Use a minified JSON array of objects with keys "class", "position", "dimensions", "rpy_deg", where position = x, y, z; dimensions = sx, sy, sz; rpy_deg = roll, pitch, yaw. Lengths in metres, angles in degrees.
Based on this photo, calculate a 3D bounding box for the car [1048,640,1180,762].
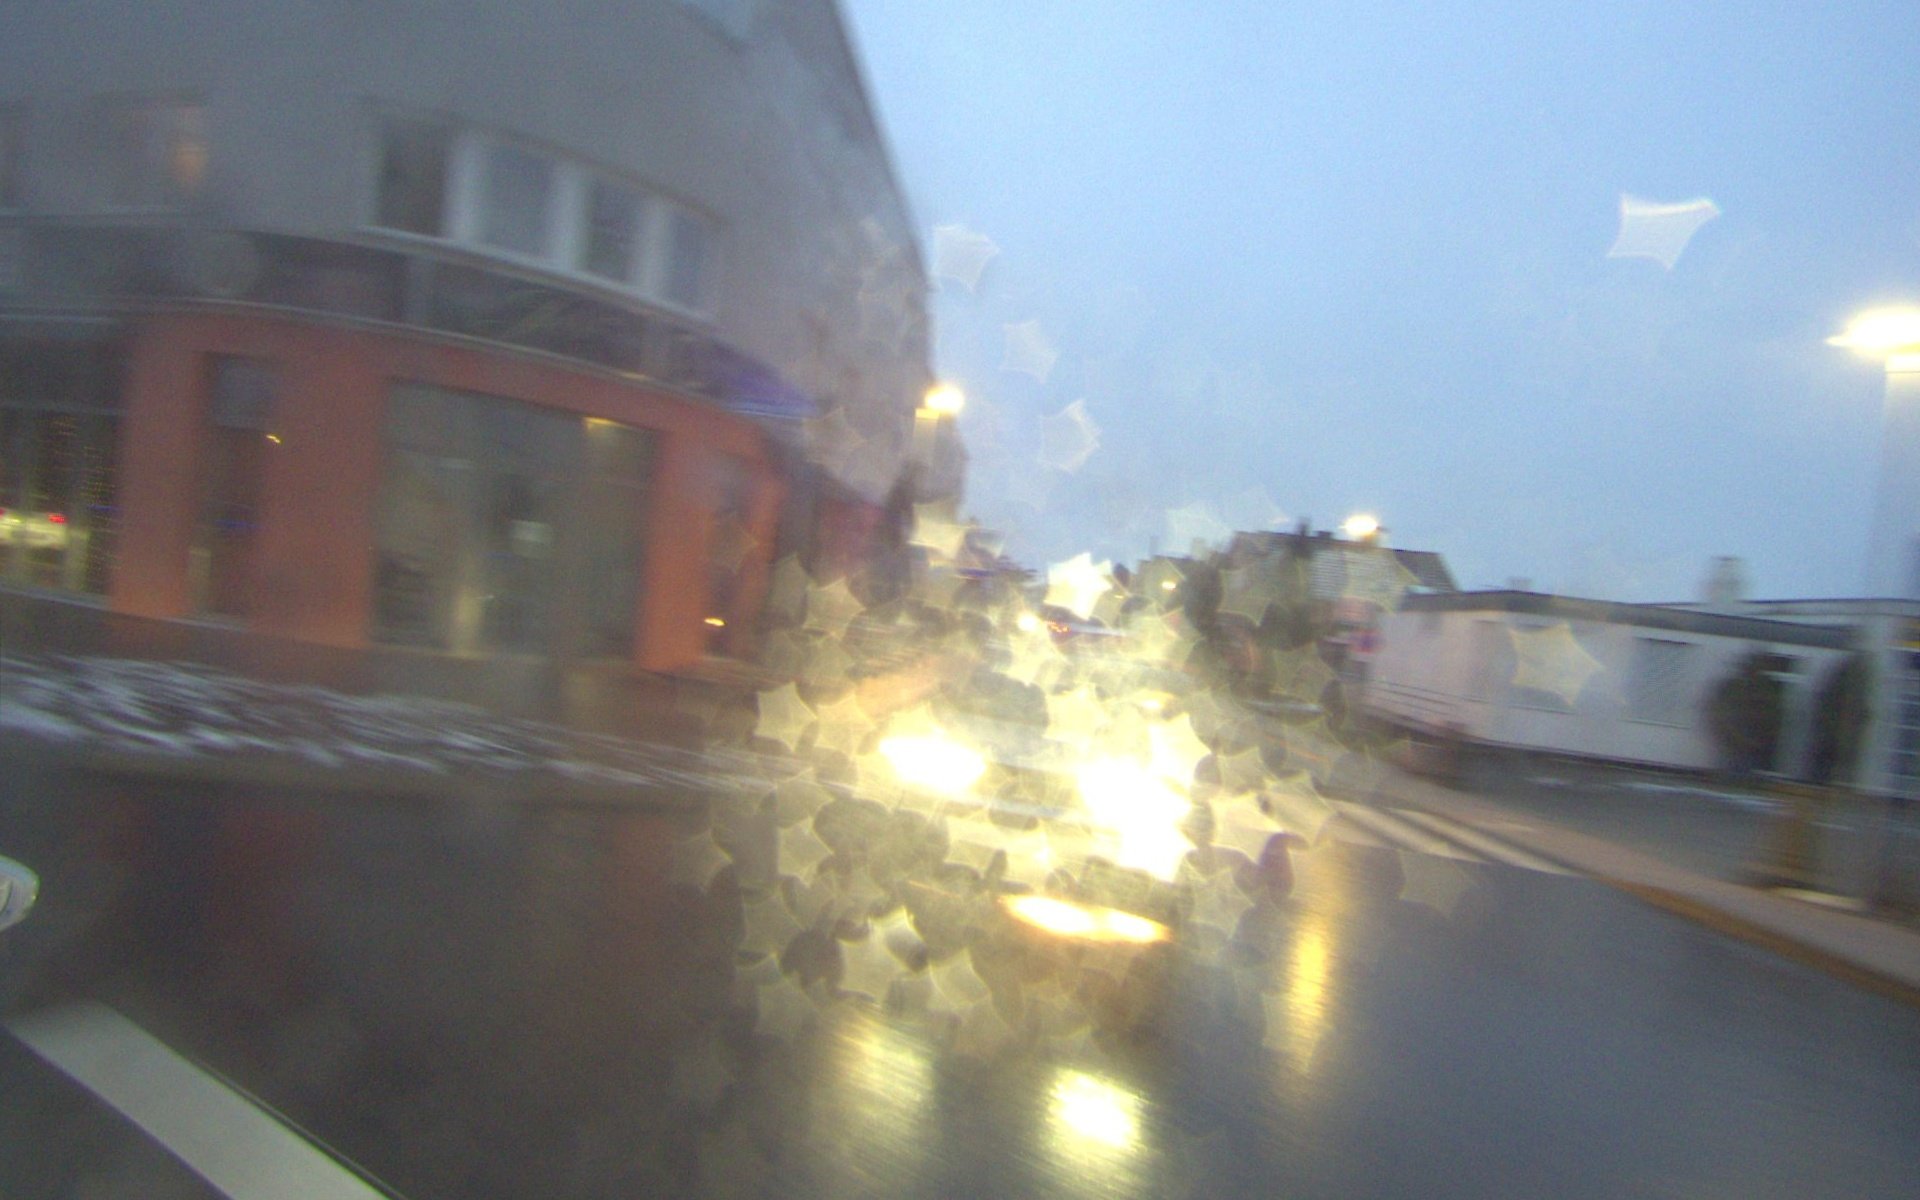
[{"class":"car","position":[2.807,1.841,19.193],"dimensions":[2.009,1.807,4.136],"rpy_deg":[7,-2,5]}]

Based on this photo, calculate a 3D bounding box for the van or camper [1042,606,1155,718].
[{"class":"van or camper","position":[3.934,1.728,29.203],"dimensions":[2.409,2.358,9.199],"rpy_deg":[9,-2,7]}]

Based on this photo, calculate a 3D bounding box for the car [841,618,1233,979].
[{"class":"car","position":[0.880,1.088,6.979],"dimensions":[1.764,1.457,4.189],"rpy_deg":[8,-2,16]}]
